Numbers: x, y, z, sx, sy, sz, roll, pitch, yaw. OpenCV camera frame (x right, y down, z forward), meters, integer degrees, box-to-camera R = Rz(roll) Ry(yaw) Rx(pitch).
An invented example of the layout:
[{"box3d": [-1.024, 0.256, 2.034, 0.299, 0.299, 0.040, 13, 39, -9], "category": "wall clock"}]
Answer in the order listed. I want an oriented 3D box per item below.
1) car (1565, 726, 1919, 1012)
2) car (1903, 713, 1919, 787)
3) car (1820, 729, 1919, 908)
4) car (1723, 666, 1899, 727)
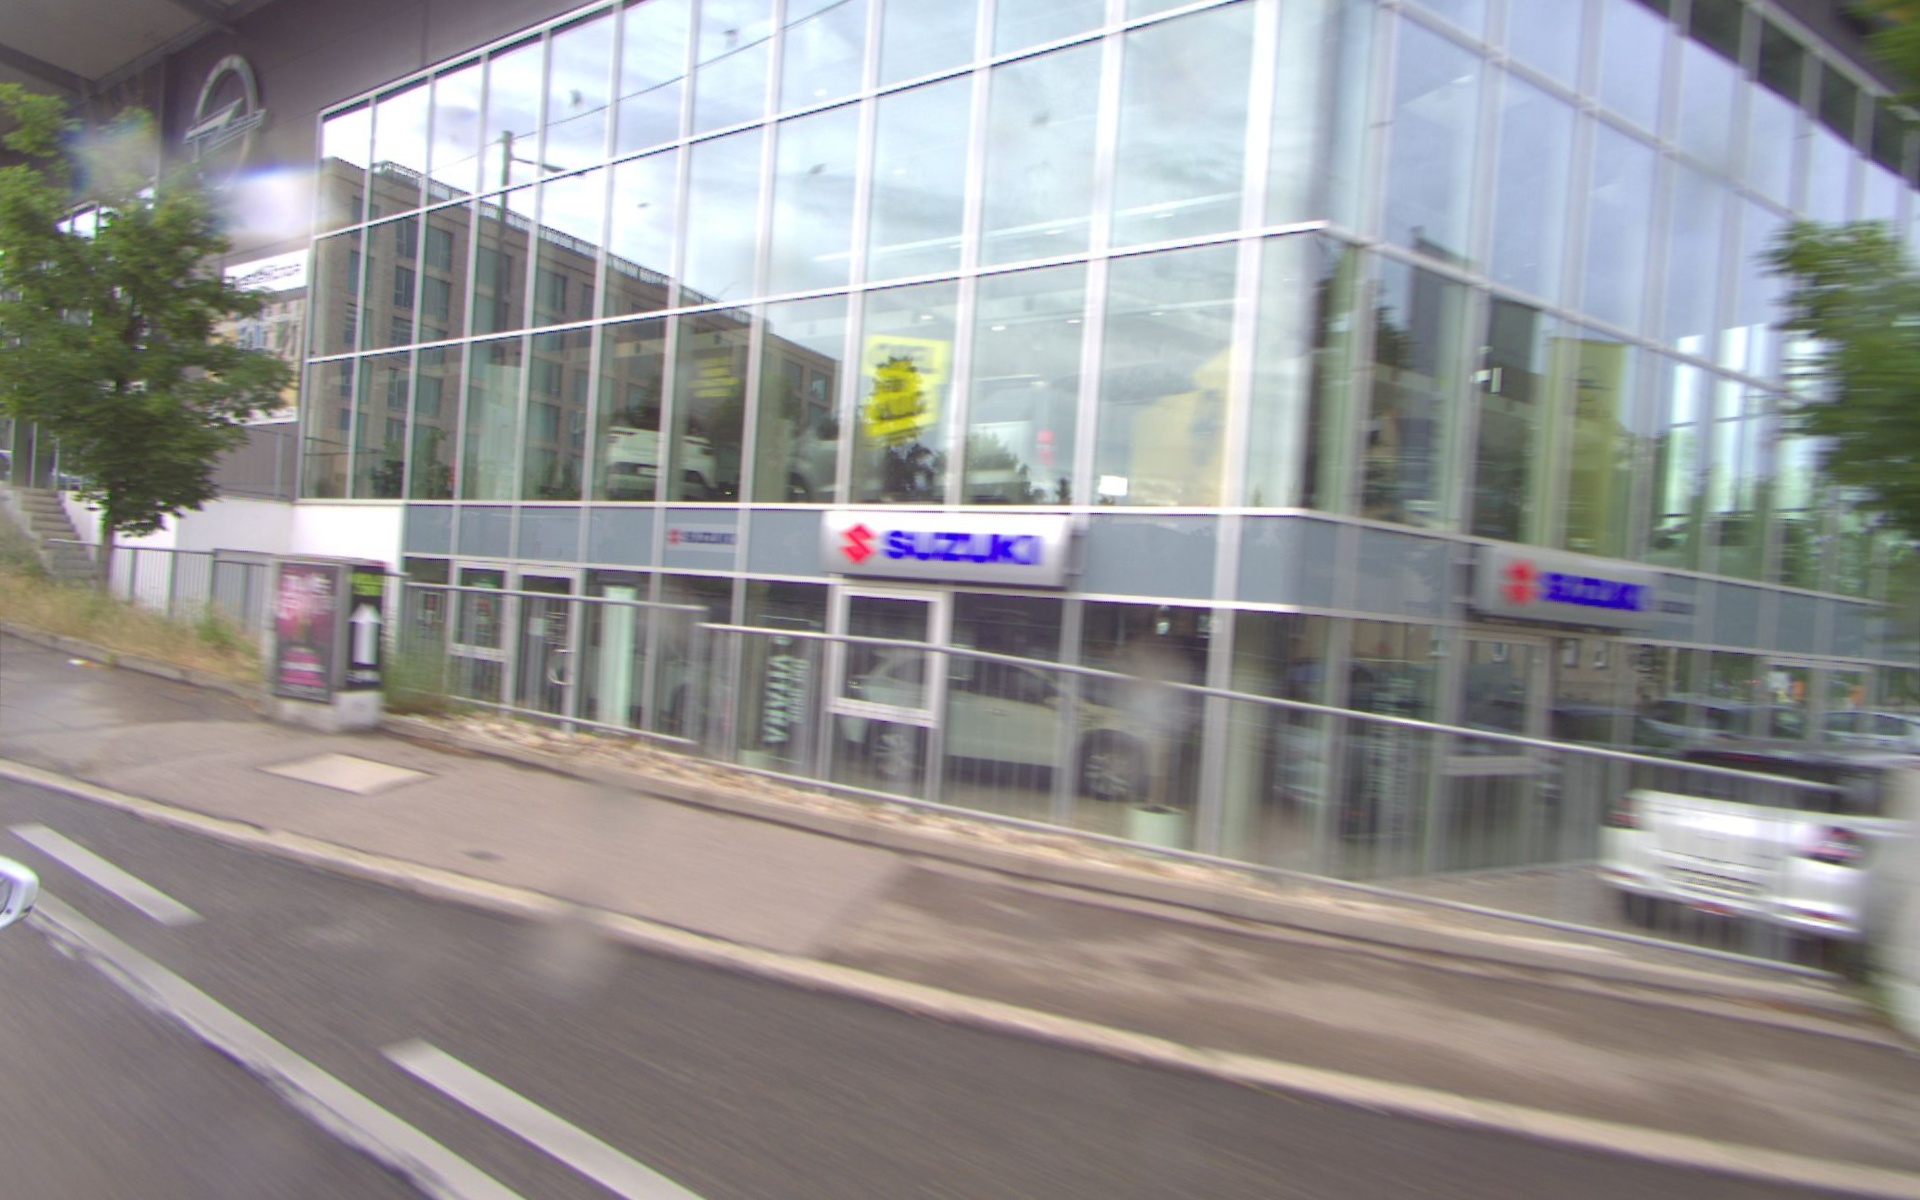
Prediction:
[{"box3d": [6.868, 1.915, 7.961, 3.956, 1.526, 1.884, 6, -2, -31], "category": "car"}, {"box3d": [20.177, 3.118, 18.672, 1.790, 1.471, 4.002, 7, 0, 8], "category": "car"}, {"box3d": [10.711, 2.235, 9.990, 3.949, 1.549, 1.814, 5, 0, -26], "category": "car"}, {"box3d": [28.284, 3.183, 33.563, 1.891, 1.324, 3.969, 5, 2, -29], "category": "car"}]
